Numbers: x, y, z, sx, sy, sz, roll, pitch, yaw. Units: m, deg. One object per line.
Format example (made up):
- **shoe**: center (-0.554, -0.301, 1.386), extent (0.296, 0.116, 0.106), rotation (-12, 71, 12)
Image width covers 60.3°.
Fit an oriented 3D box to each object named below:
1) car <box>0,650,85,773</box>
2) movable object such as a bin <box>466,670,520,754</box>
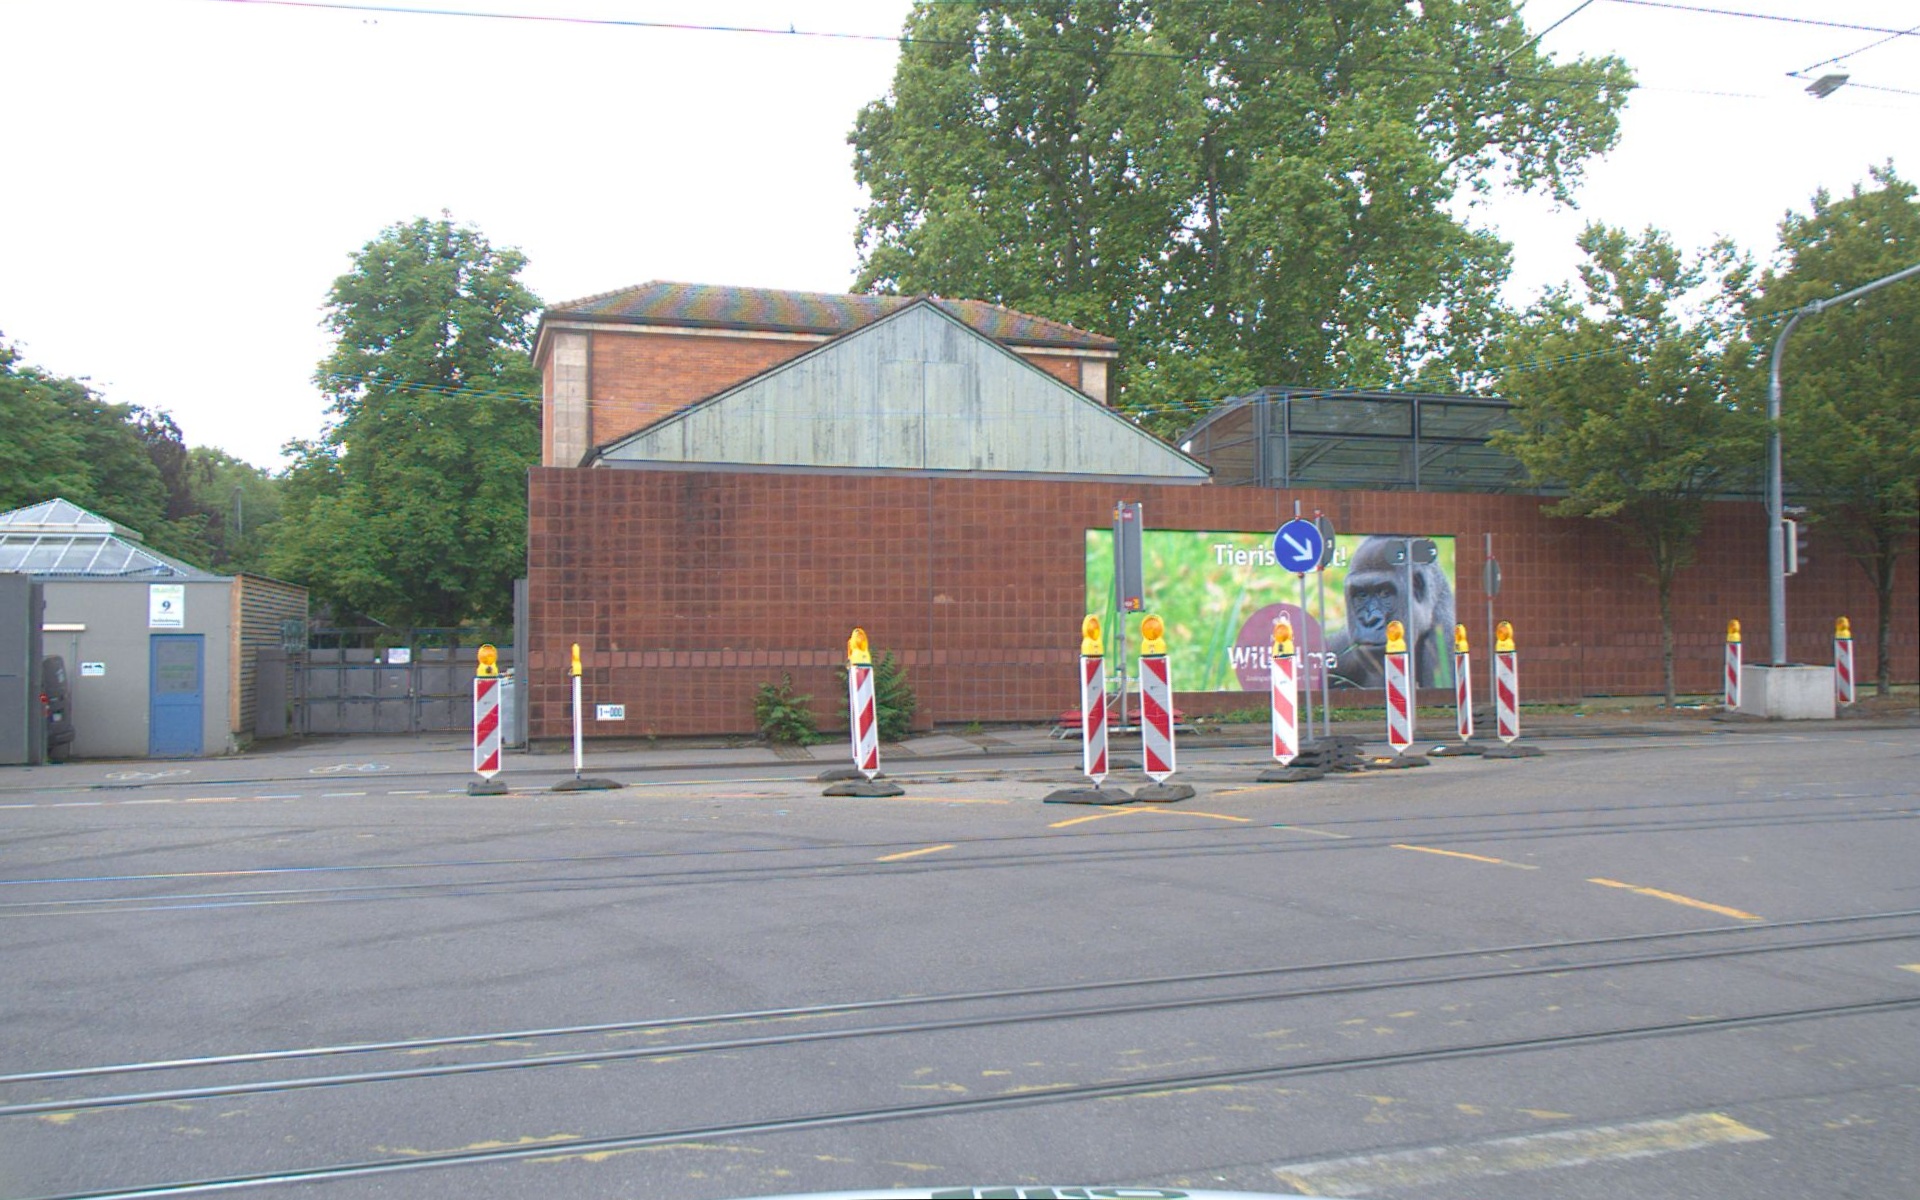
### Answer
- **car**: center (-18.217, 1.979, 29.325), extent (4.373, 2.121, 2.094), rotation (0, -3, -17)
- **movable object such as a bin**: center (-7.861, 1.875, 27.843), extent (0.834, 1.364, 0.797), rotation (-1, -2, -15)
